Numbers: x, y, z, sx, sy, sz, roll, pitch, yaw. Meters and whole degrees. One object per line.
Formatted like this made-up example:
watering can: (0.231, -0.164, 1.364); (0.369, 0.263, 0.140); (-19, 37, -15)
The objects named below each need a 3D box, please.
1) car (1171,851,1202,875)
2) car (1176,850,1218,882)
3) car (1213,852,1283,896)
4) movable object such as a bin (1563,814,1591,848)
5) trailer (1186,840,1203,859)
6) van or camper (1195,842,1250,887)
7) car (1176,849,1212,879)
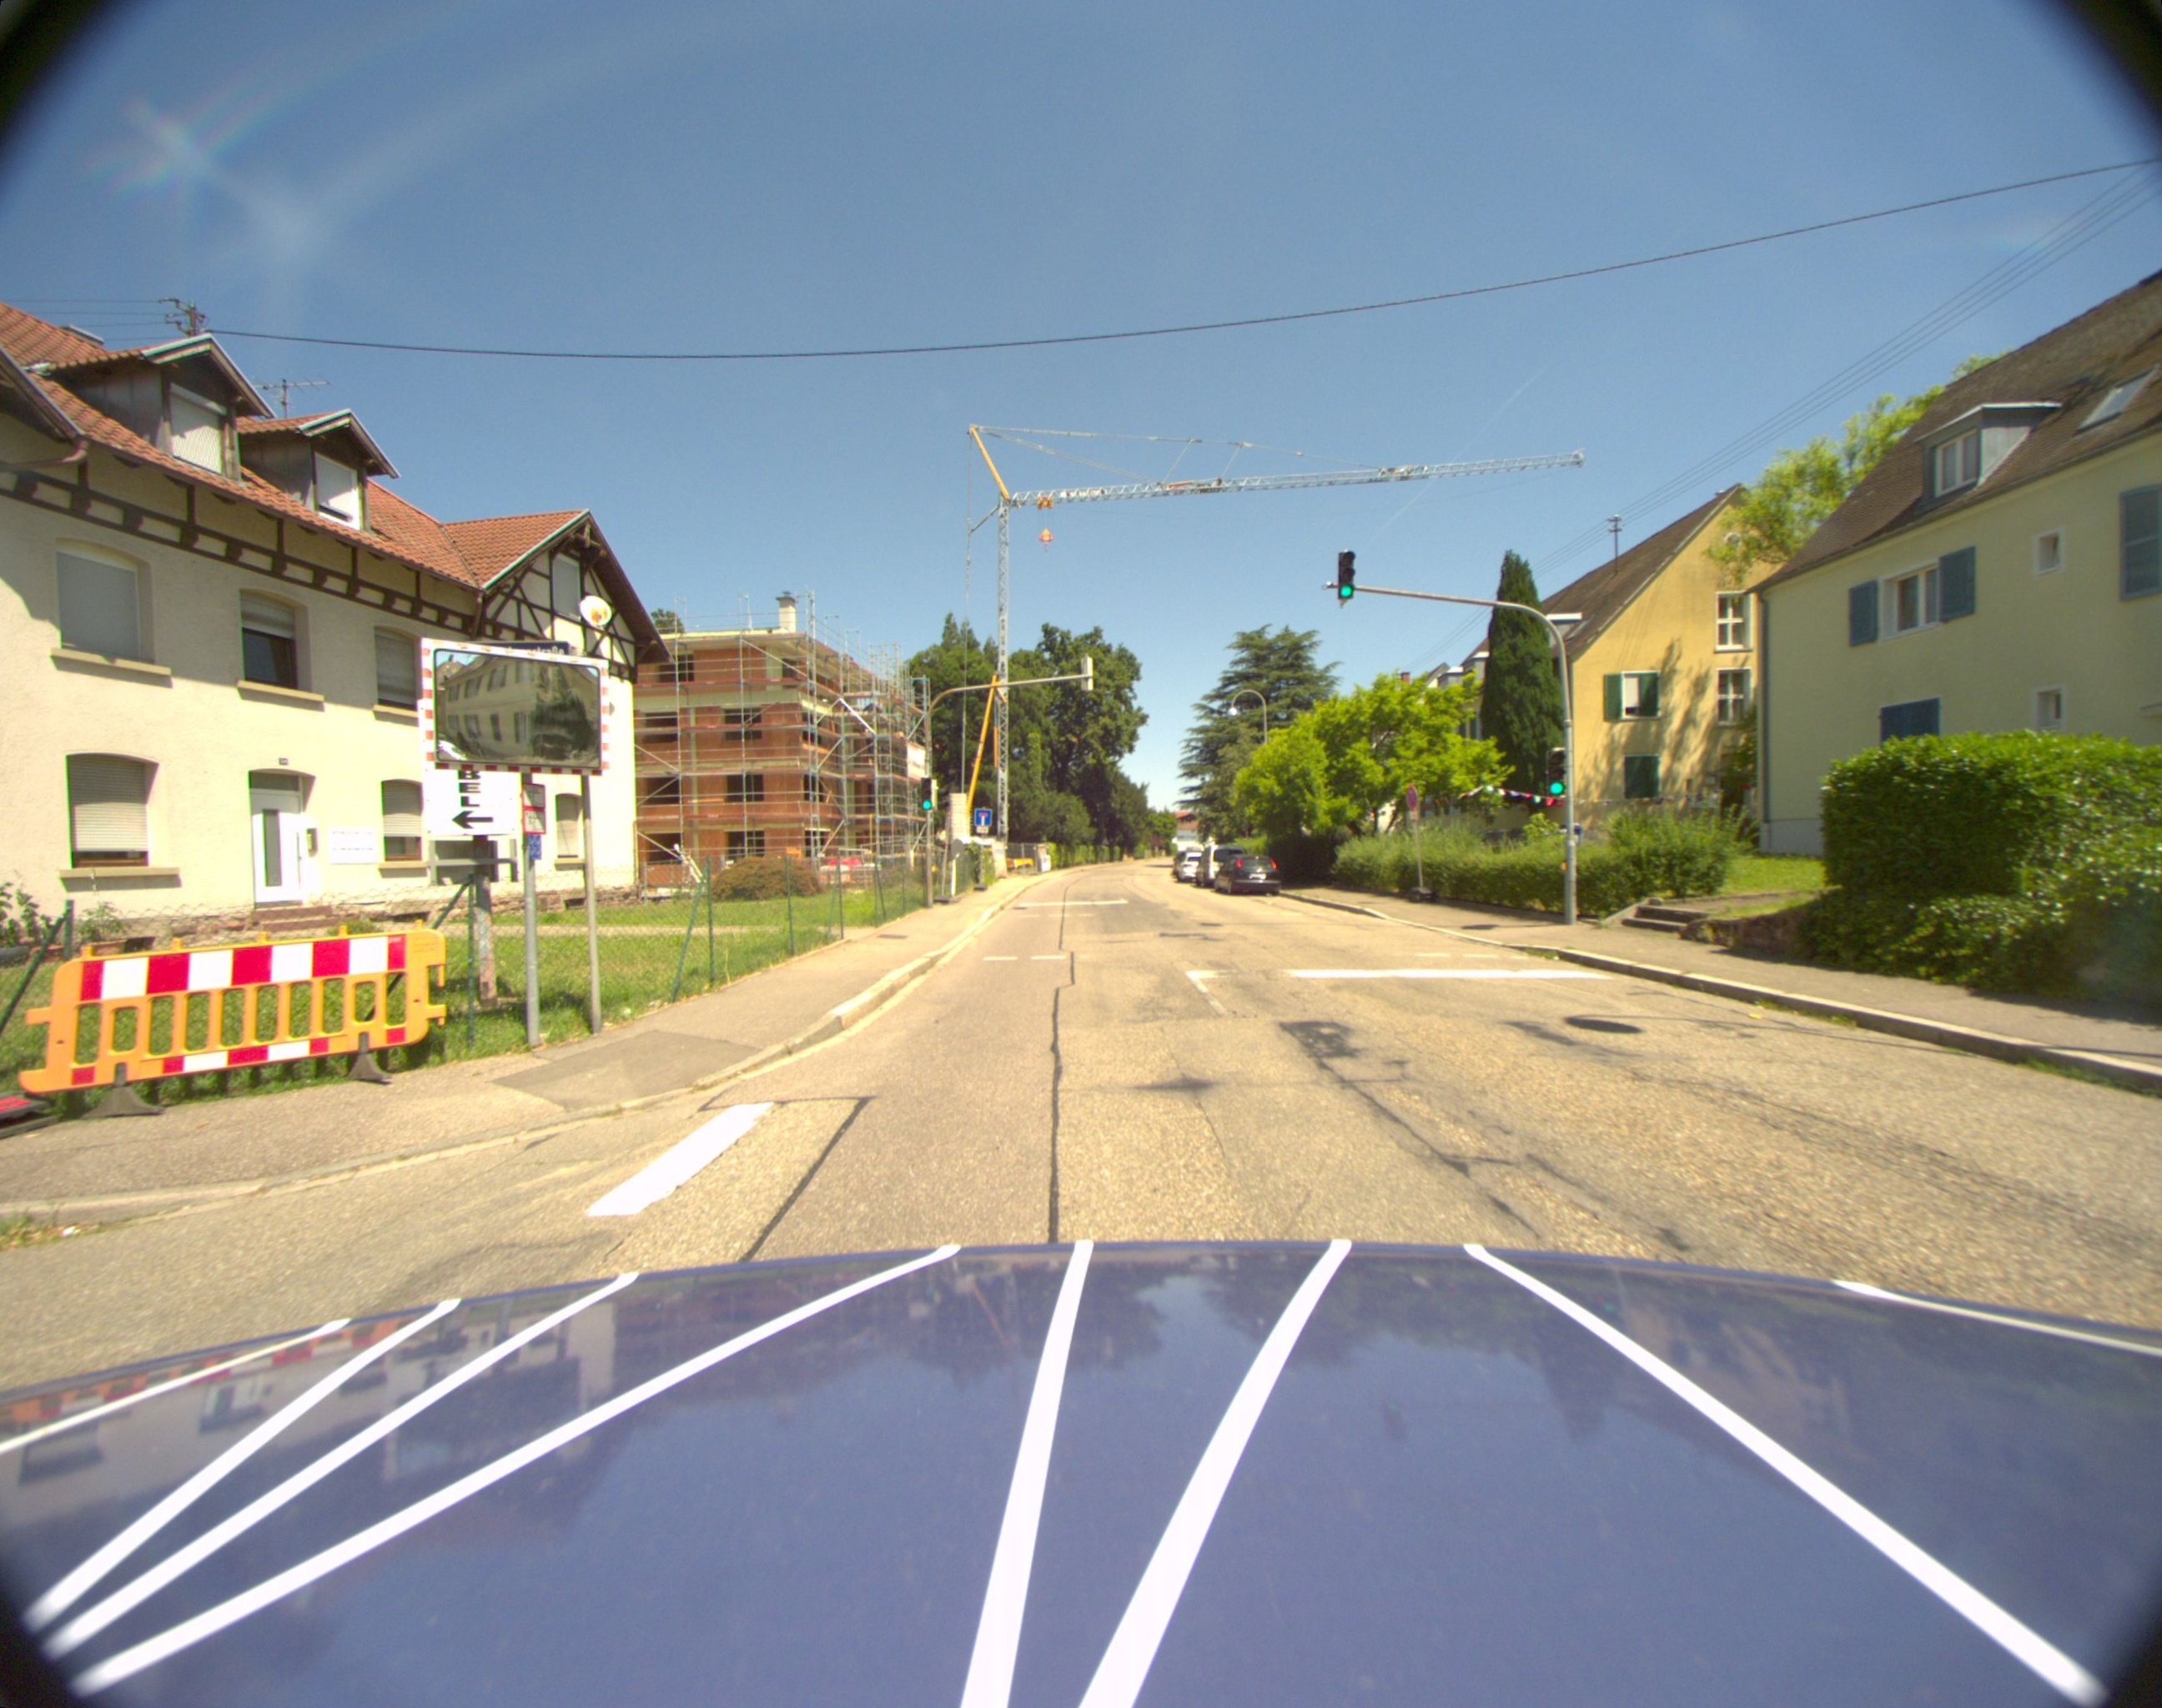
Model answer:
car: (6.809, 0.554, 49.445); (1.685, 1.467, 4.331); (0, 1, 4)
car: (5.647, 0.563, 37.348); (1.685, 1.433, 4.248); (0, 1, 4)
car: (5.900, 0.664, 27.253); (1.685, 1.404, 3.926); (0, 1, 1)
movable object such as a bin: (18.271, -0.842, 27.996); (0.622, 1.189, 0.674); (-1, 1, 2)
trailer: (13.018, -0.519, 86.727); (1.817, 2.021, 4.002); (1, 1, 9)
van or camper: (5.888, 0.394, 32.038); (1.685, 1.794, 3.985); (0, 1, 2)
car: (6.526, 0.530, 44.229); (1.685, 1.627, 4.331); (0, 1, 4)
